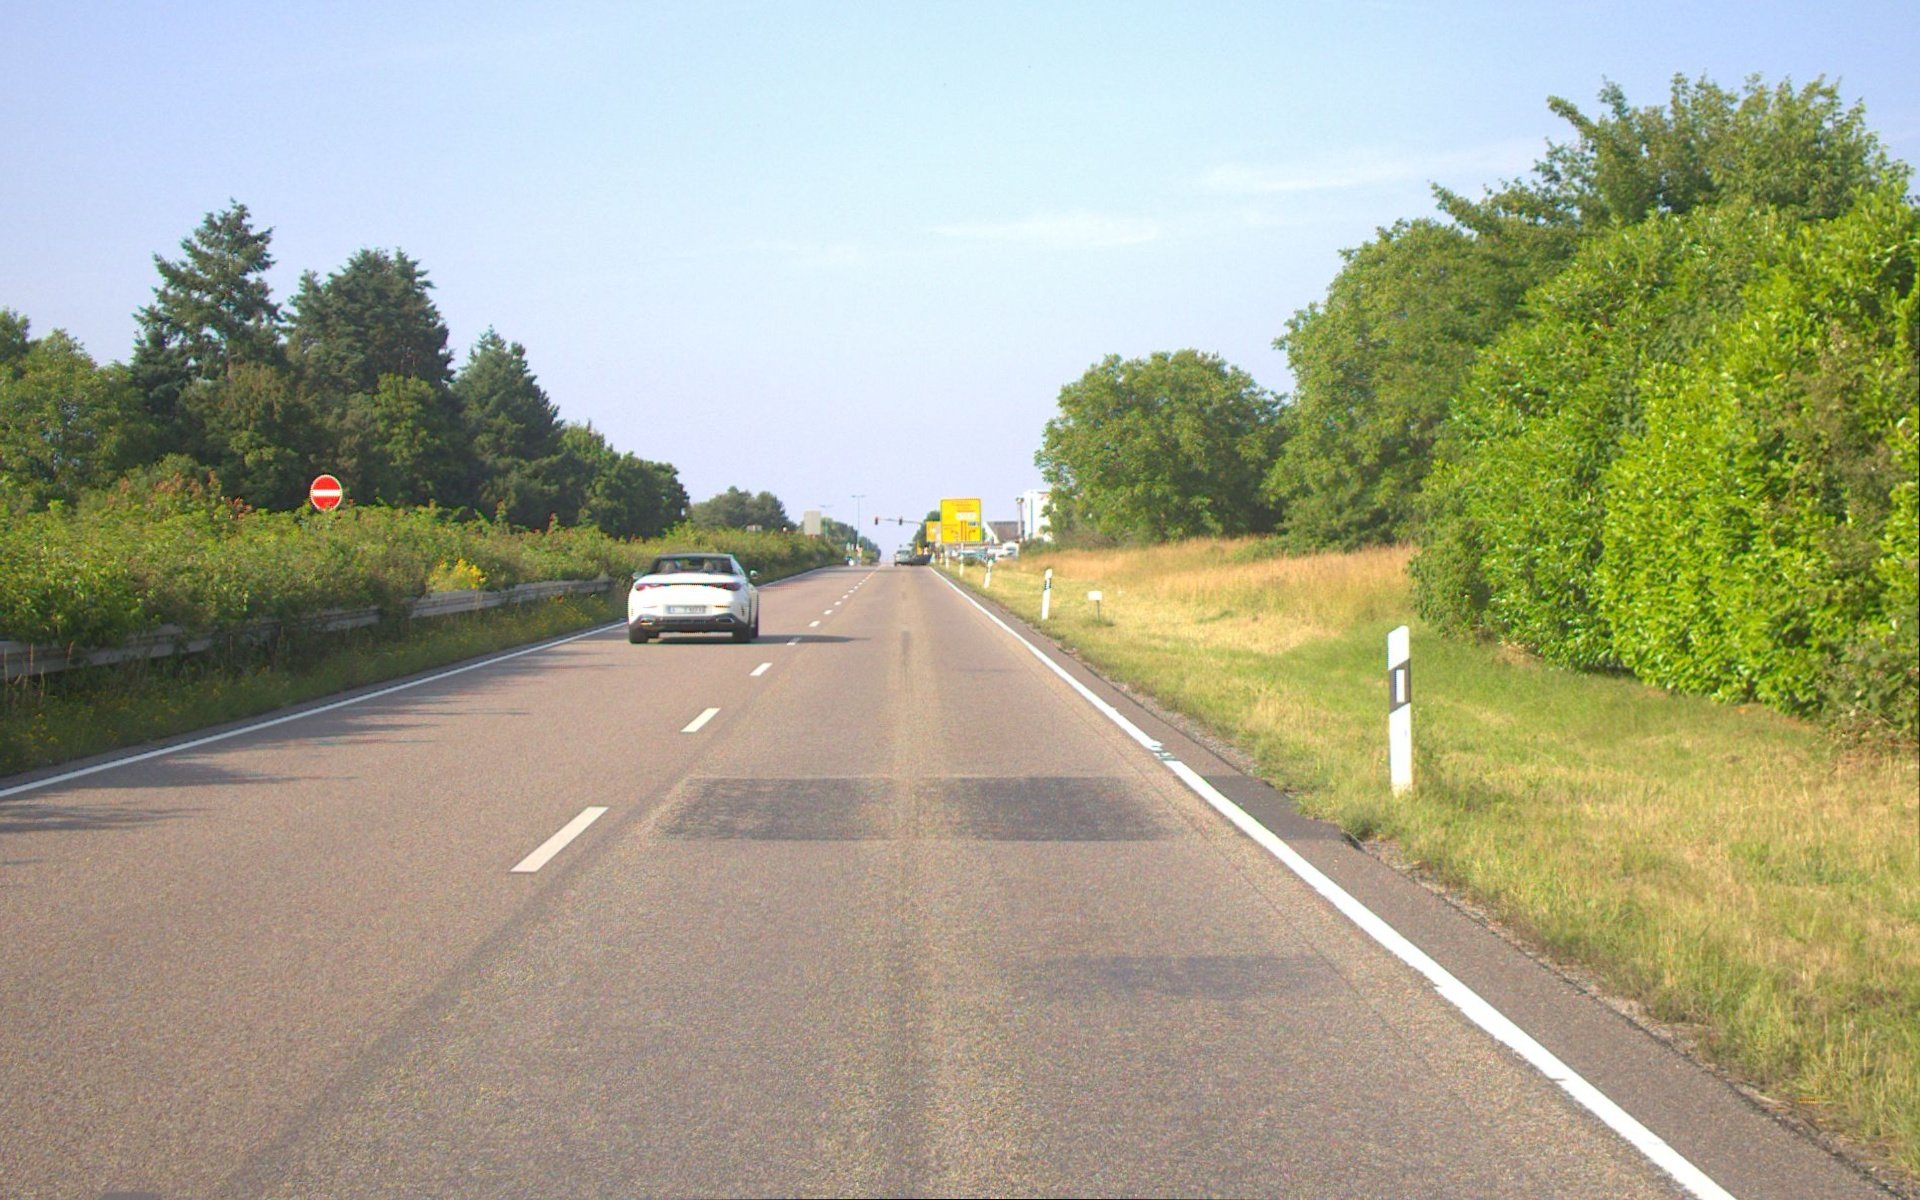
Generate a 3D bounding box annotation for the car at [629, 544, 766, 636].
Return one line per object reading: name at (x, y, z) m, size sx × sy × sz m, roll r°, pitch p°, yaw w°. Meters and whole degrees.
car at (-4.053, -0.170, 53.725) m, size 1.771 × 1.333 × 4.950 m, roll 1°, pitch 1°, yaw 0°
